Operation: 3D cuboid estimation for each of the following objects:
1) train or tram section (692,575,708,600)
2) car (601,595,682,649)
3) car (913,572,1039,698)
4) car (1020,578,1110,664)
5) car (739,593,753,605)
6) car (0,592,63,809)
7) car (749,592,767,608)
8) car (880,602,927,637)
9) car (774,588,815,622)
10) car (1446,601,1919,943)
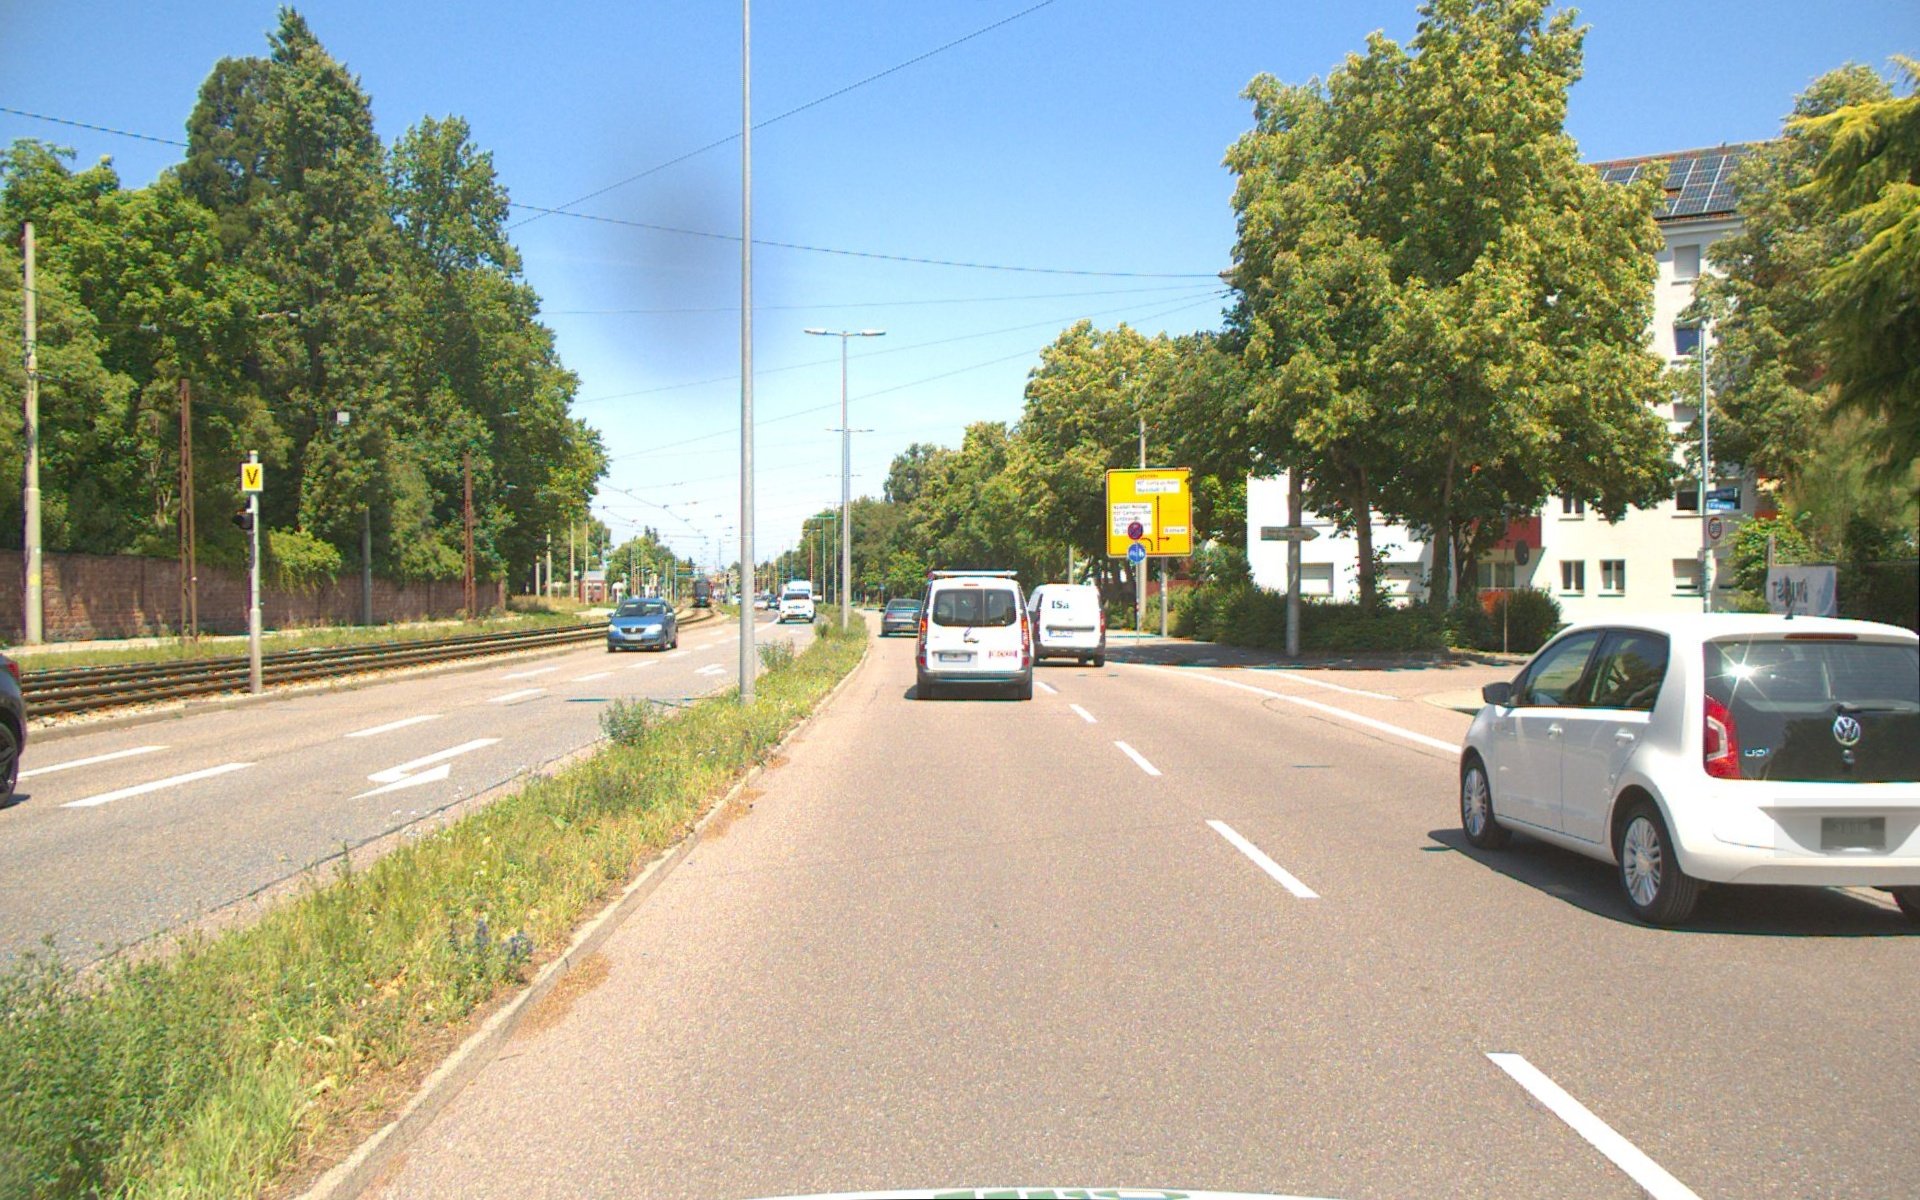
[{"bbox_3d":[-34.847,-1.586,221.451,1.957,3.140,16.130,1,0,-9],"label":"train or tram section"},{"bbox_3d":[-8.988,0.592,46.965,1.663,1.464,3.998,-1,0,-3],"label":"car"},{"bbox_3d":[0.221,0.487,25.925,1.784,1.770,4.396,1,0,0],"label":"car"},{"bbox_3d":[2.350,0.457,37.881,1.692,1.819,4.063,1,0,-1],"label":"car"},{"bbox_3d":[-29.748,-0.089,229.628,1.713,1.594,3.995,1,0,-6],"label":"car"},{"bbox_3d":[-7.651,0.739,10.560,1.662,1.539,4.065,-1,0,-1],"label":"car"},{"bbox_3d":[-21.113,0.038,173.240,1.713,1.594,3.995,1,0,-6],"label":"car"},{"bbox_3d":[-2.095,0.704,62.023,1.658,1.237,3.588,1,0,-1],"label":"car"},{"bbox_3d":[-9.163,0.268,91.859,1.953,1.847,3.999,0,0,-1],"label":"car"},{"bbox_3d":[4.057,0.789,9.217,1.577,1.472,3.435,1,1,-2],"label":"car"}]
